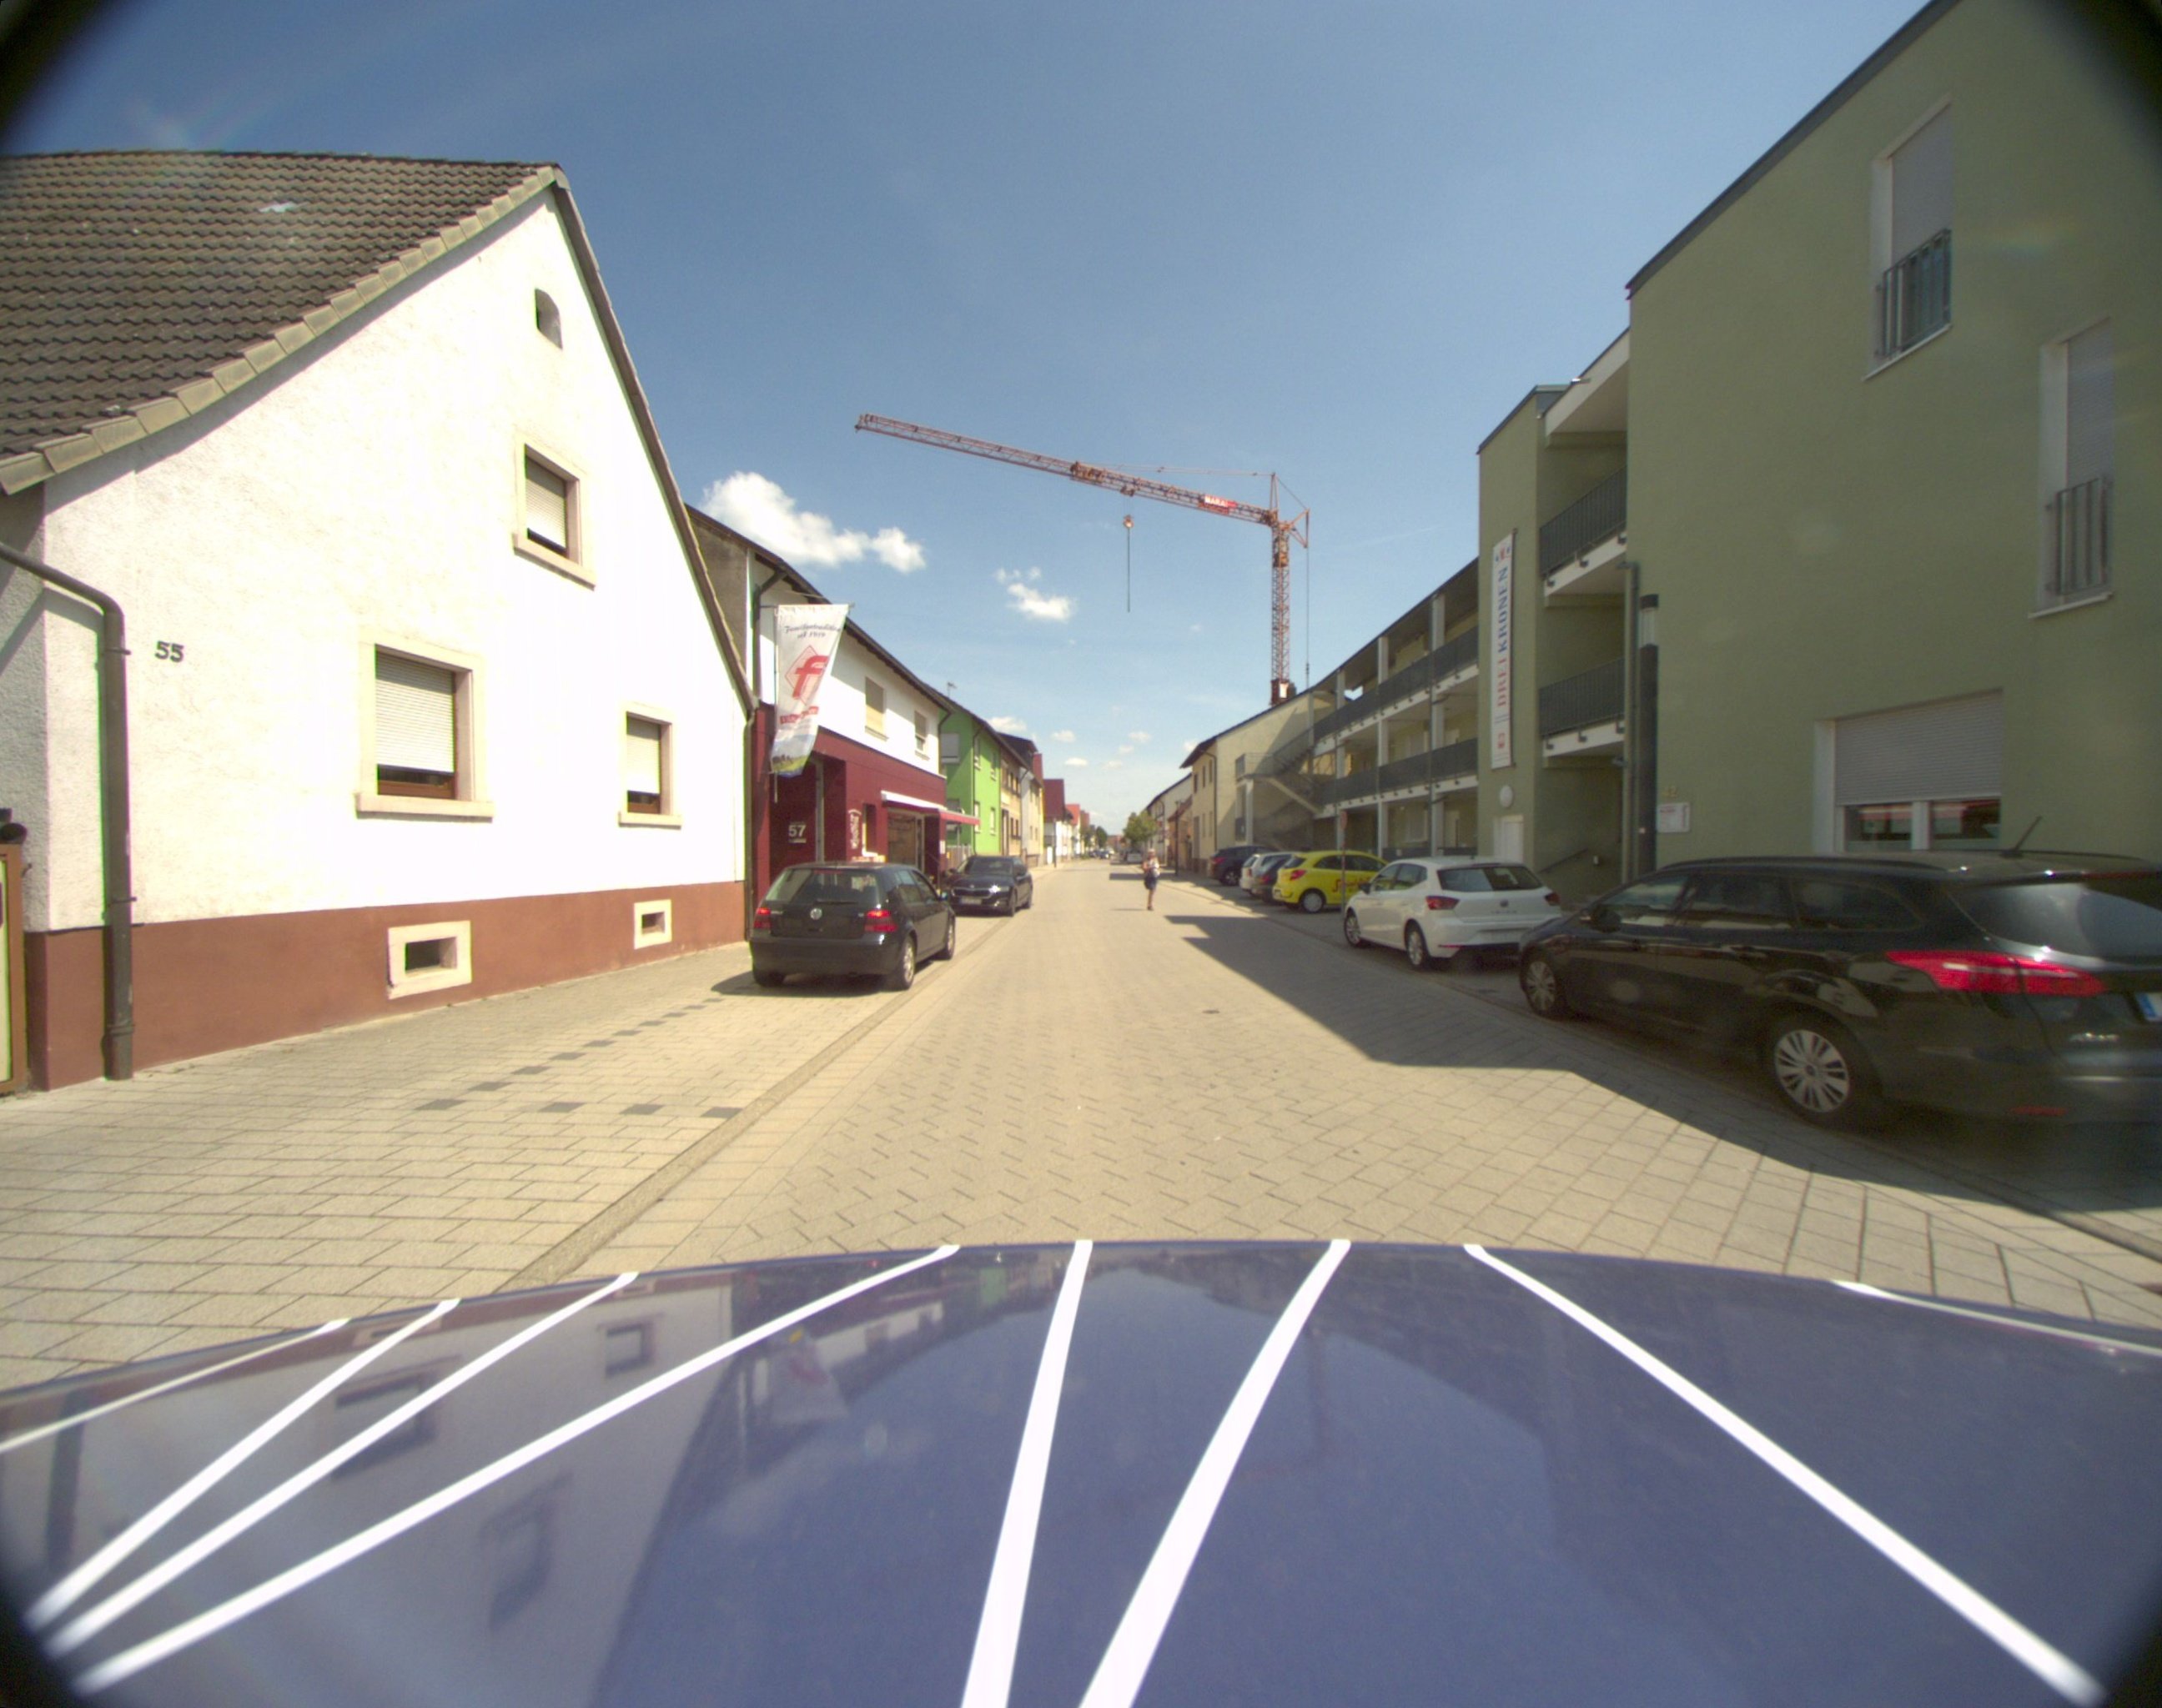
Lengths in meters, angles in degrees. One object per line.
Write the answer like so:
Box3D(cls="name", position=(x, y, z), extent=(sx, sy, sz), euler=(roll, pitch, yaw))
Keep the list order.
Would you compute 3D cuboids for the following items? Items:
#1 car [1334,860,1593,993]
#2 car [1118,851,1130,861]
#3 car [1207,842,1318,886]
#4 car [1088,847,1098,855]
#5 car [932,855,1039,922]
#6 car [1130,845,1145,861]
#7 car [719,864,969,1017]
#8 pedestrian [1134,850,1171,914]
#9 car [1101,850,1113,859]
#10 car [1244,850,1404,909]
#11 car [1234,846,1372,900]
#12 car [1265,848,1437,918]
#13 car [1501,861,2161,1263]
Box3D(cls="car", position=(5.045, 0.853, 10.678), extent=(1.762, 1.403, 3.878), euler=(-2, 0, 2))
Box3D(cls="car", position=(6.703, 0.345, 118.850), extent=(1.752, 1.557, 3.955), euler=(0, 1, 1))
Box3D(cls="car", position=(7.550, 0.402, 31.887), extent=(4.229, 1.649, 1.784), euler=(-2, 1, 3))
Box3D(cls="car", position=(2.226, -0.566, 138.968), extent=(1.726, 1.420, 3.819), euler=(0, 1, 3))
Box3D(cls="car", position=(-2.346, 0.794, 19.871), extent=(1.862, 1.451, 4.587), euler=(2, 1, 4))
Box3D(cls="car", position=(5.983, -0.083, 80.298), extent=(1.576, 1.552, 2.822), euler=(-3, 1, 5))
Box3D(cls="car", position=(-2.710, 0.901, 9.739), extent=(1.763, 1.430, 4.119), euler=(1, 1, 2))
Box3D(cls="pedestrian", position=(1.865, 0.711, 19.851), extent=(0.749, 1.630, 0.731), euler=(-2, 1, -9))
Box3D(cls="car", position=(4.459, 0.083, 129.464), extent=(1.957, 1.521, 4.001), euler=(0, 1, 3))
Box3D(cls="car", position=(6.884, 0.700, 21.822), extent=(3.996, 1.433, 1.691), euler=(-3, 1, 2))
Box3D(cls="car", position=(7.025, 0.591, 24.380), extent=(3.910, 1.494, 1.751), euler=(-3, 1, 3))
Box3D(cls="car", position=(6.749, 0.691, 19.205), extent=(3.702, 1.516, 1.672), euler=(-3, 1, -2))
Box3D(cls="car", position=(4.889, 0.858, 5.150), extent=(1.818, 1.482, 4.277), euler=(-2, 0, 2))
